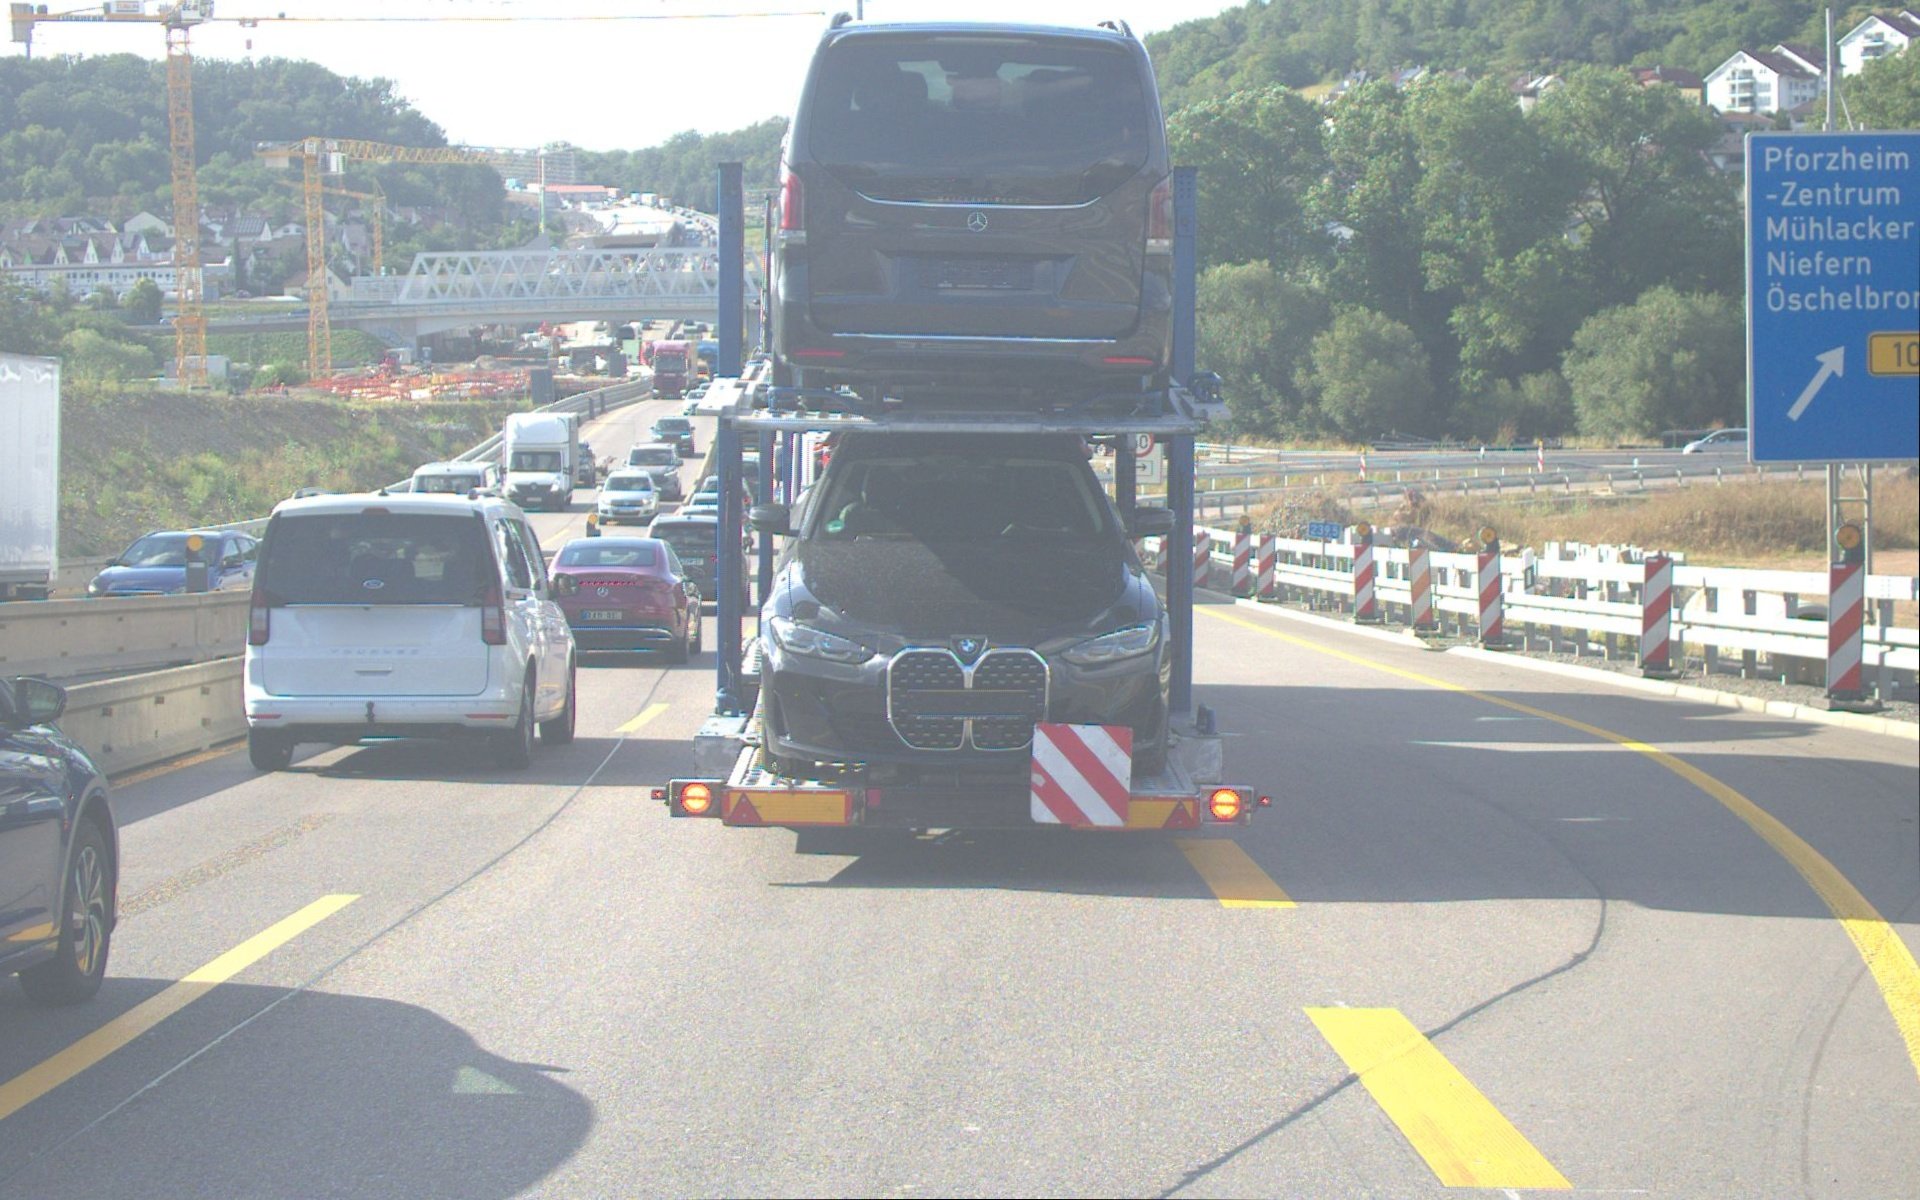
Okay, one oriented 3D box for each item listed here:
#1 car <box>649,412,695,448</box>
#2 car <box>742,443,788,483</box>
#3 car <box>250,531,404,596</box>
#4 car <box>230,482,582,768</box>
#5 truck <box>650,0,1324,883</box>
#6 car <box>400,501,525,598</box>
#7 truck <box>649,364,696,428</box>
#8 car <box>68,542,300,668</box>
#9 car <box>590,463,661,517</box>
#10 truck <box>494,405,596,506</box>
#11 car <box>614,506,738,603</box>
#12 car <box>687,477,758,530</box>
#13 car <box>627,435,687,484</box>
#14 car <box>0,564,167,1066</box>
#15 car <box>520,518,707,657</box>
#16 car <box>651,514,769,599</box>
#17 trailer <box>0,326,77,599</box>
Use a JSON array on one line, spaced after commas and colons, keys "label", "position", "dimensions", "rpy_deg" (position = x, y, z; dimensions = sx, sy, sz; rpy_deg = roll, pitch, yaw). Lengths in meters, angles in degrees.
[{"label": "car", "position": [-13.598, -8.021, 162.599], "dimensions": [1.852, 1.630, 4.749], "rpy_deg": [-1, 2, -2]}, {"label": "car", "position": [-8.263, -5.780, 145.538], "dimensions": [1.844, 1.642, 4.506], "rpy_deg": [0, 2, -5]}, {"label": "car", "position": [-12.816, -0.733, 69.869], "dimensions": [1.920, 1.268, 3.999], "rpy_deg": [0, 1, 8]}, {"label": "car", "position": [-3.703, 0.139, 23.625], "dimensions": [1.823, 1.786, 4.000], "rpy_deg": [0, 0, -1]}, {"label": "truck", "position": [-0.142, -0.894, 23.904], "dimensions": [2.753, 3.941, 18.891], "rpy_deg": [1, 0, -2]}, {"label": "car", "position": [-12.712, -1.276, 88.228], "dimensions": [2.258, 2.394, 5.867], "rpy_deg": [0, 0, 1]}, {"label": "truck", "position": [-20.424, -14.471, 244.013], "dimensions": [2.913, 4.372, 6.288], "rpy_deg": [1, 2, -8]}, {"label": "car", "position": [-11.068, 0.053, 49.308], "dimensions": [1.994, 1.720, 4.121], "rpy_deg": [0, 0, 7]}, {"label": "car", "position": [-10.646, -3.538, 109.749], "dimensions": [2.125, 1.668, 4.273], "rpy_deg": [0, 2, -4]}, {"label": "truck", "position": [-14.604, -5.031, 121.355], "dimensions": [2.700, 3.300, 7.537], "rpy_deg": [0, 0, 0]}, {"label": "car", "position": [-4.766, -0.755, 57.448], "dimensions": [1.993, 1.547, 4.001], "rpy_deg": [0, 1, -5]}, {"label": "car", "position": [-7.418, -3.012, 107.859], "dimensions": [1.993, 1.547, 4.000], "rpy_deg": [0, 1, -1]}, {"label": "car", "position": [-11.242, -5.218, 127.940], "dimensions": [2.125, 1.759, 5.032], "rpy_deg": [1, 2, -4]}, {"label": "car", "position": [-3.574, 0.613, 9.638], "dimensions": [1.722, 1.417, 4.000], "rpy_deg": [0, 0, 1]}, {"label": "car", "position": [-4.047, -0.161, 40.792], "dimensions": [1.993, 1.551, 4.401], "rpy_deg": [0, 1, -3]}, {"label": "car", "position": [-4.727, -0.825, 65.420], "dimensions": [1.993, 1.547, 4.000], "rpy_deg": [0, 1, -1]}, {"label": "trailer", "position": [-15.399, -1.904, 44.418], "dimensions": [2.821, 3.828, 13.800], "rpy_deg": [0, 1, 7]}]
